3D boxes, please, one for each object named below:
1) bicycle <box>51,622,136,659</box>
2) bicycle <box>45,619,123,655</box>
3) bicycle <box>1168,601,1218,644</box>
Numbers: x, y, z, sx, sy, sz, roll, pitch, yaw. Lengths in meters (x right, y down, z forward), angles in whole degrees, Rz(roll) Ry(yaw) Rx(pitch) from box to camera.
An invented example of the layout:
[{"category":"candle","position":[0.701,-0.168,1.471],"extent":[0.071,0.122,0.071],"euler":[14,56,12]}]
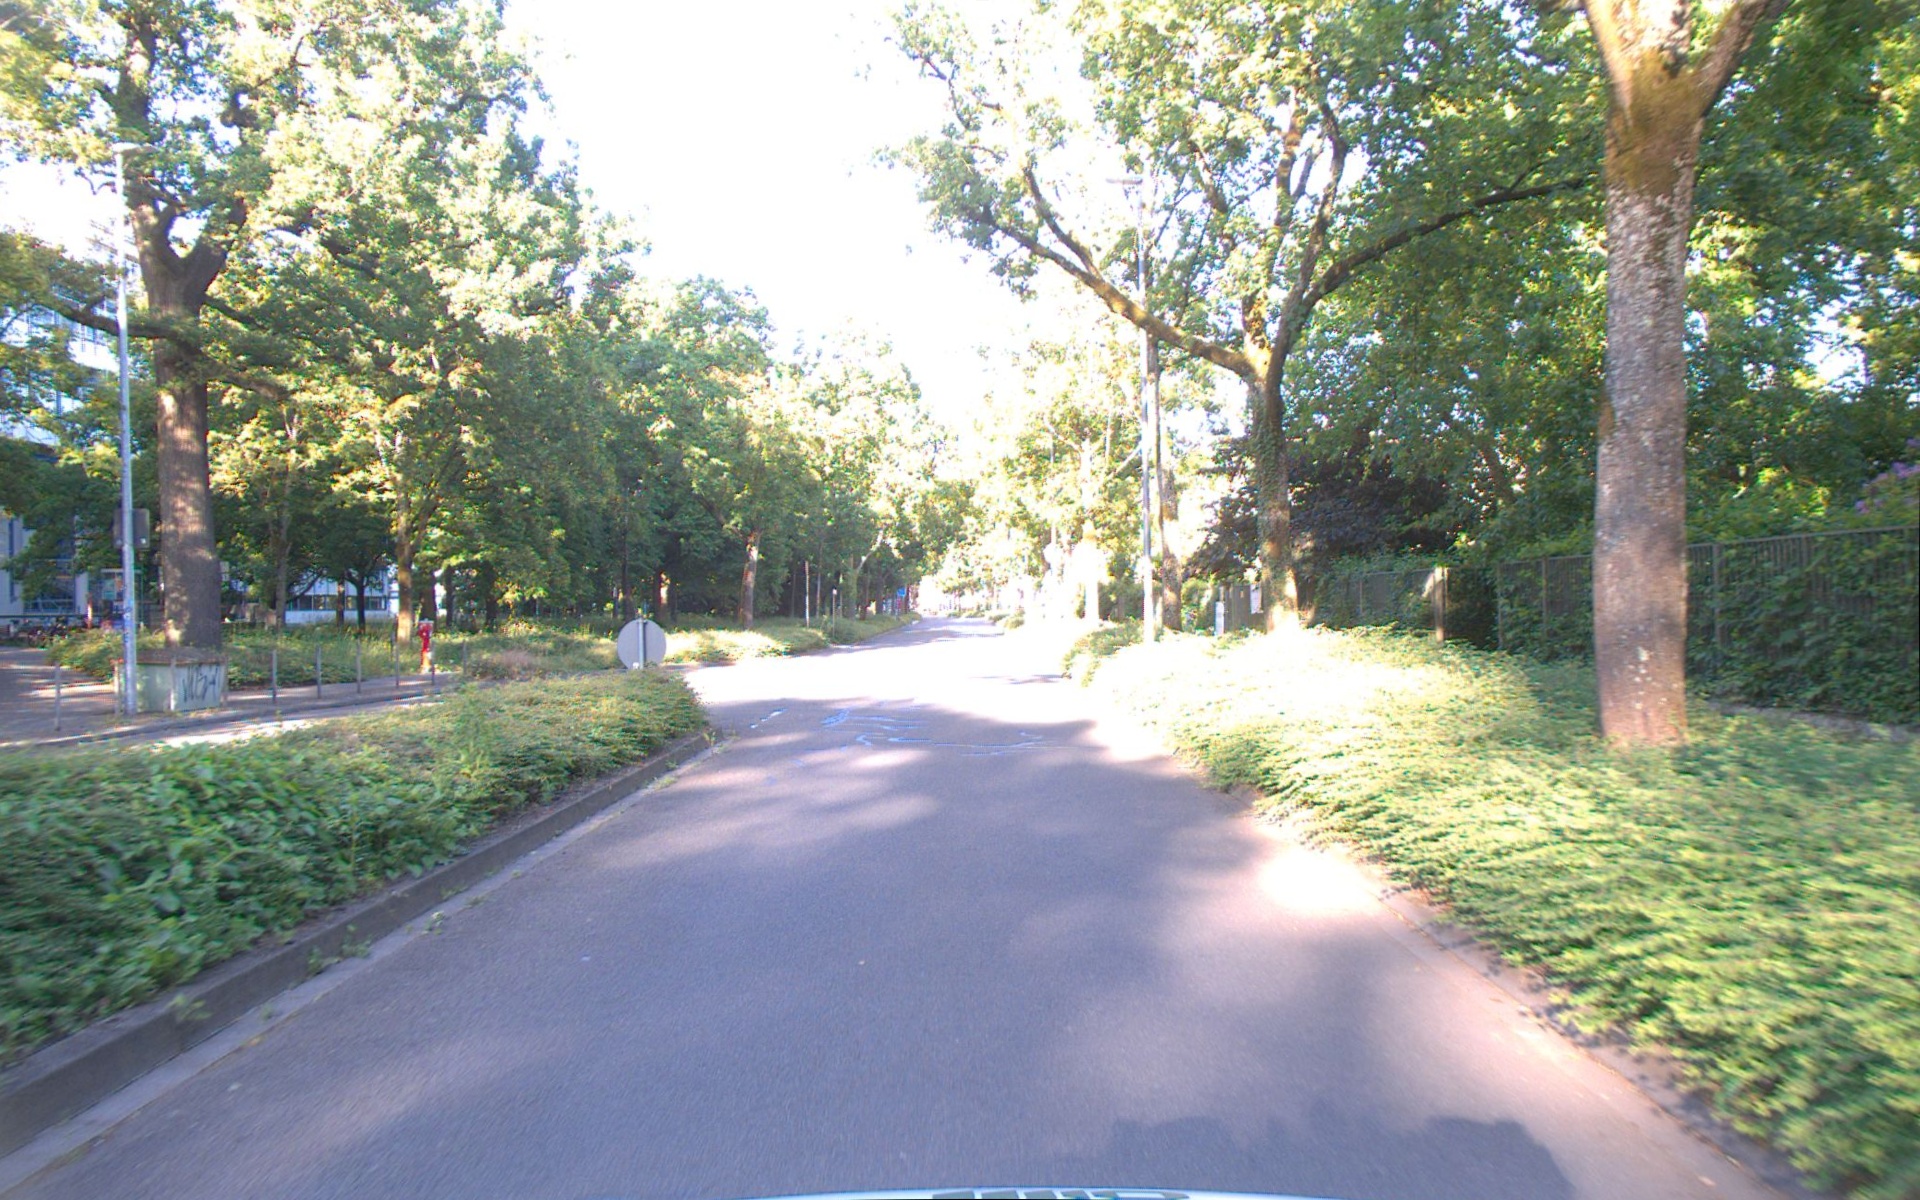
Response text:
[{"category":"bicycle","position":[-27.974,1.293,53.447],"extent":[0.527,1.090,2.418],"euler":[2,2,38]},{"category":"bicycle","position":[-28.933,1.203,54.658],"extent":[0.524,1.090,2.636],"euler":[3,1,17]},{"category":"bicycle","position":[7.302,0.694,51.706],"extent":[0.866,1.221,2.325],"euler":[-3,0,25]}]
